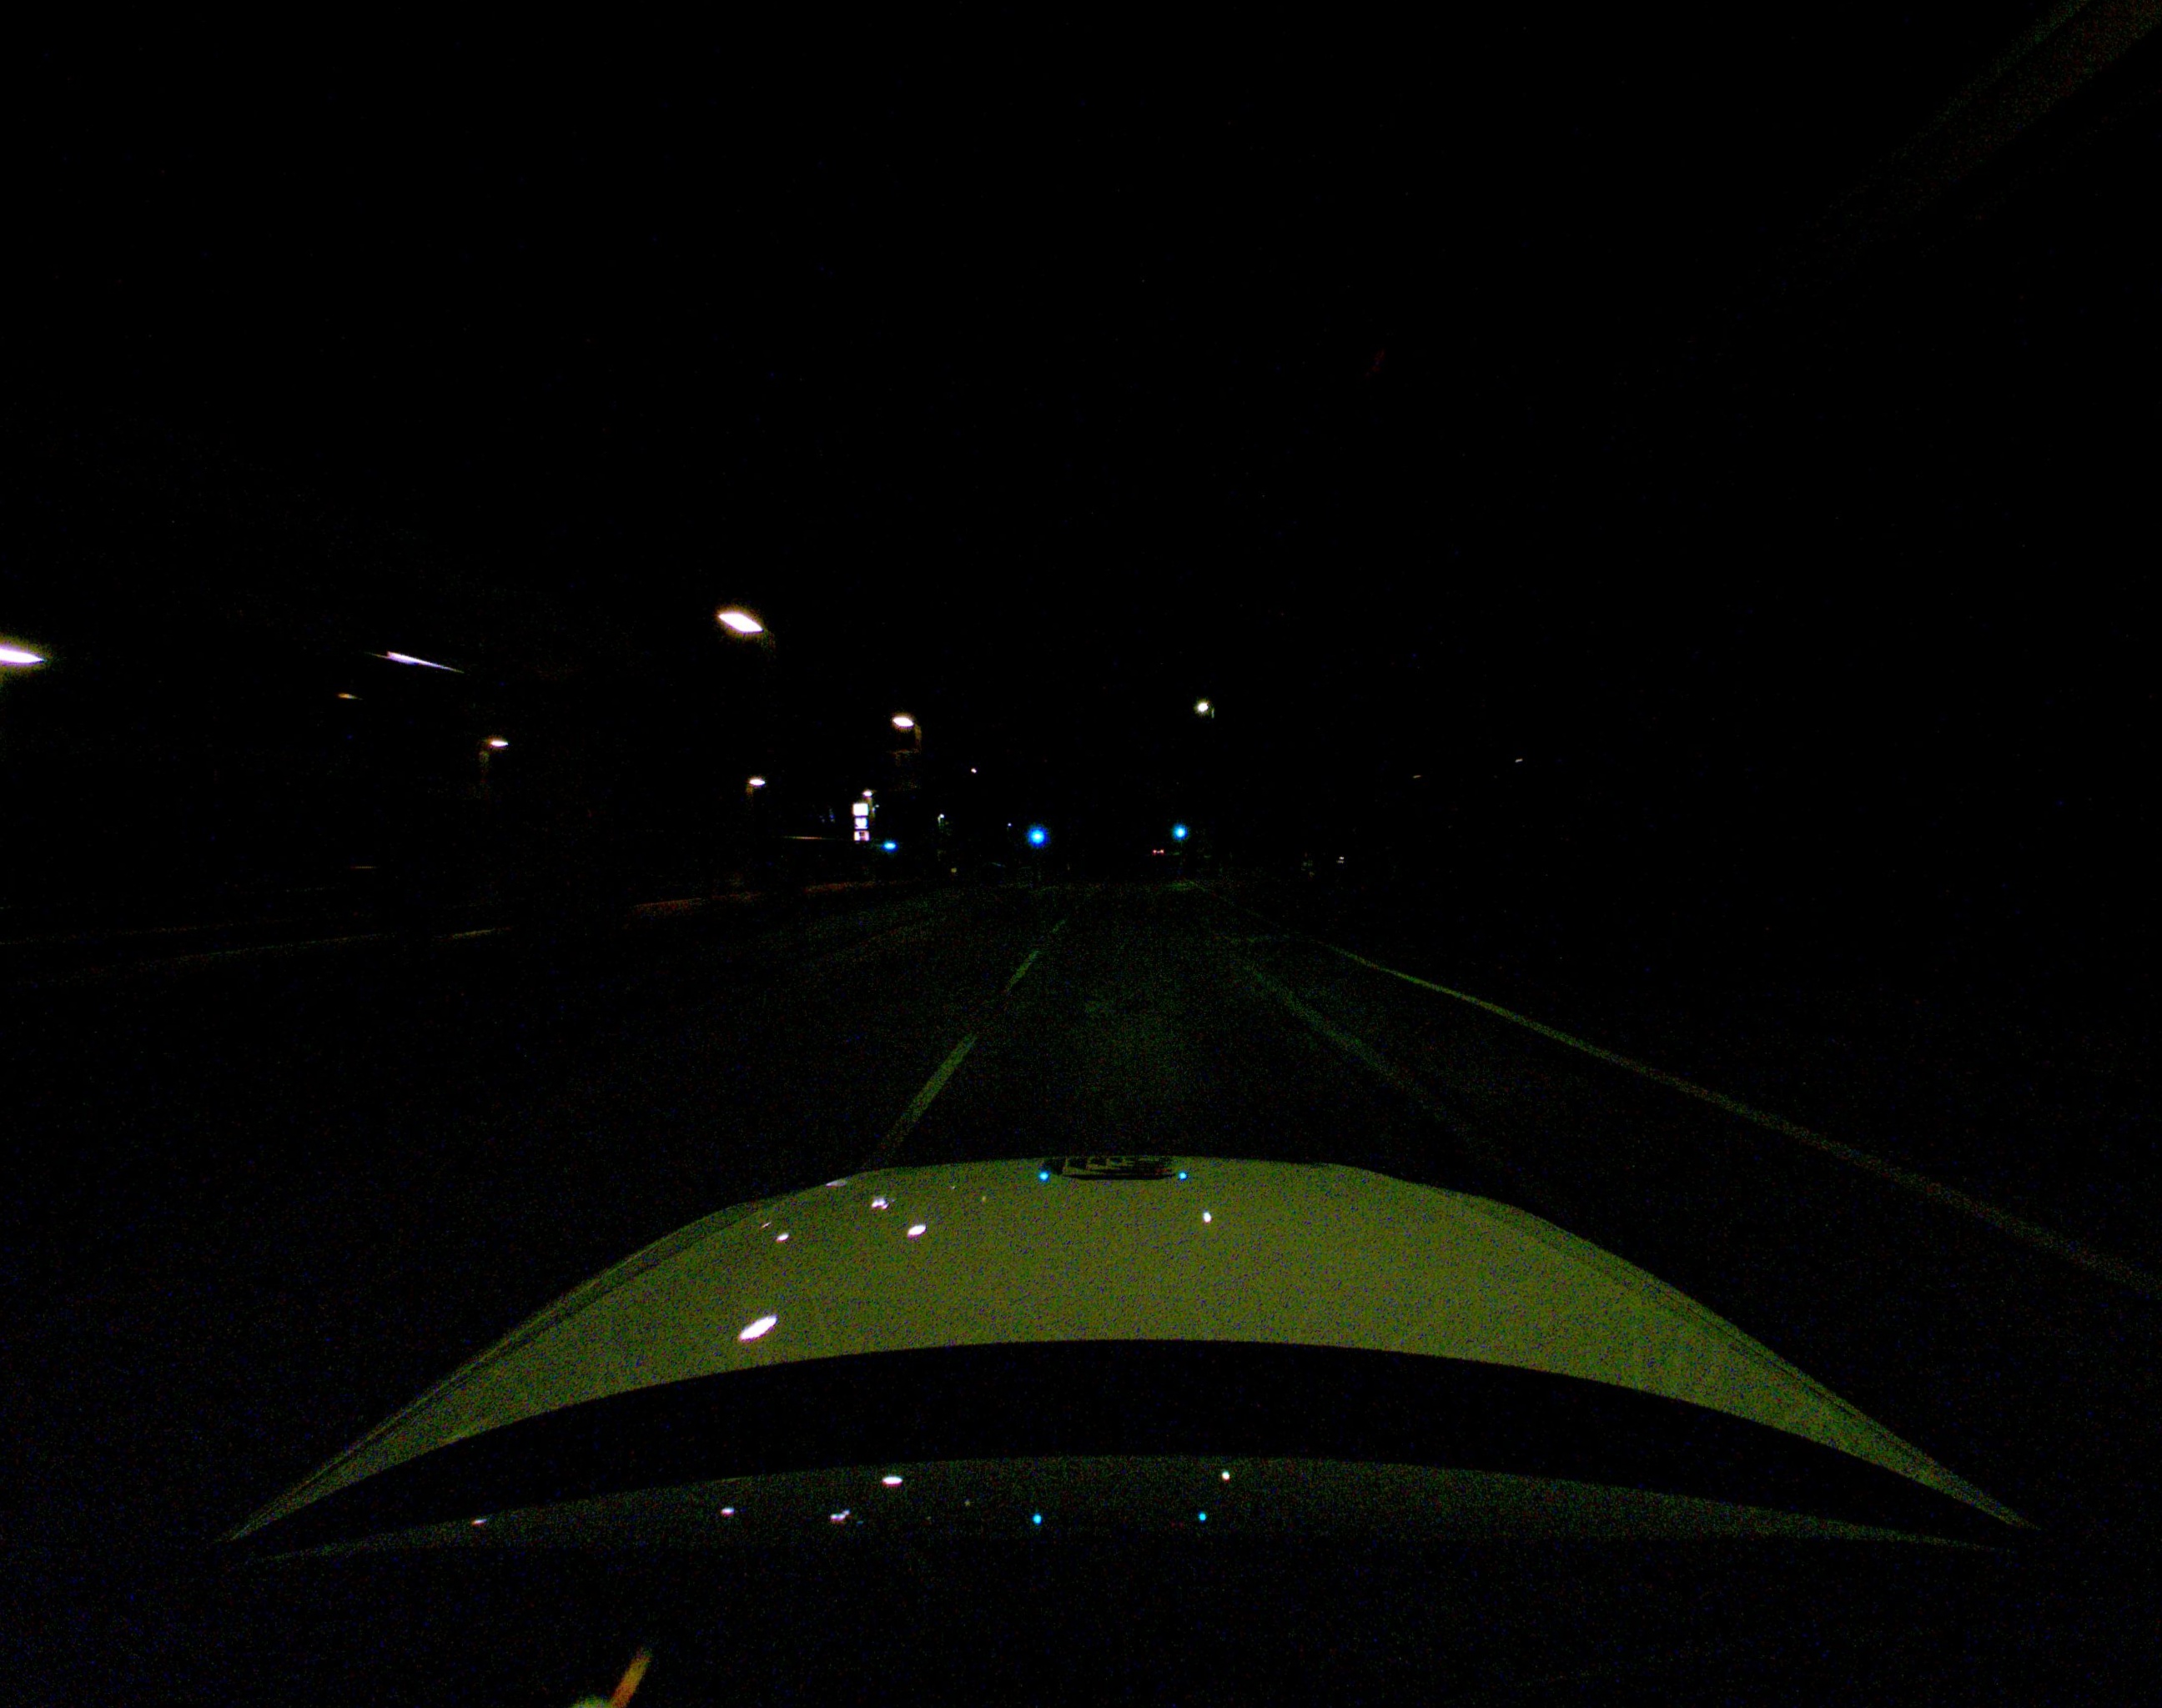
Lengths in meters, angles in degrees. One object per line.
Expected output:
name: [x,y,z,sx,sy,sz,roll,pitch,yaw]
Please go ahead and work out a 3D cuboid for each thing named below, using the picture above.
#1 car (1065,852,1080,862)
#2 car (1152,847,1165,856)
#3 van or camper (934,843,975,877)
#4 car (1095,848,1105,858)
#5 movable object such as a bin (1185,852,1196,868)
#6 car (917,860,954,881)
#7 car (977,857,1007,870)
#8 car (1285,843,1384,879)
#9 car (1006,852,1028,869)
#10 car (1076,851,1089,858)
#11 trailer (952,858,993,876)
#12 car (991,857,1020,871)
car: [-1.532,0.496,146.199,1.983,1.628,4.685,-2,0,6]
car: [14.104,-0.432,148.501,2.152,1.583,4.017,-2,0,4]
van or camper: [-10.987,0.508,71.205,2.263,2.647,5.668,-4,0,2]
car: [4.600,-0.221,196.123,2.081,2.013,4.007,-6,0,6]
movable object such as a bin: [8.729,0.462,65.013,0.719,1.200,0.722,-2,0,13]
car: [-11.519,1.292,64.787,1.637,1.339,4.550,-6,0,6]
car: [-9.448,1.018,86.639,3.017,1.326,1.534,-2,0,1]
car: [10.940,0.304,35.327,3.747,1.354,1.861,-2,0,4]
car: [-7.699,0.789,98.129,1.849,1.904,4.885,-2,0,4]
car: [0.250,0.088,165.863,1.983,1.338,5.442,-2,0,6]
trailer: [-10.376,1.228,78.054,2.404,1.374,4.670,-6,-1,11]
car: [-8.490,1.098,92.085,1.891,1.522,5.185,-2,0,9]
